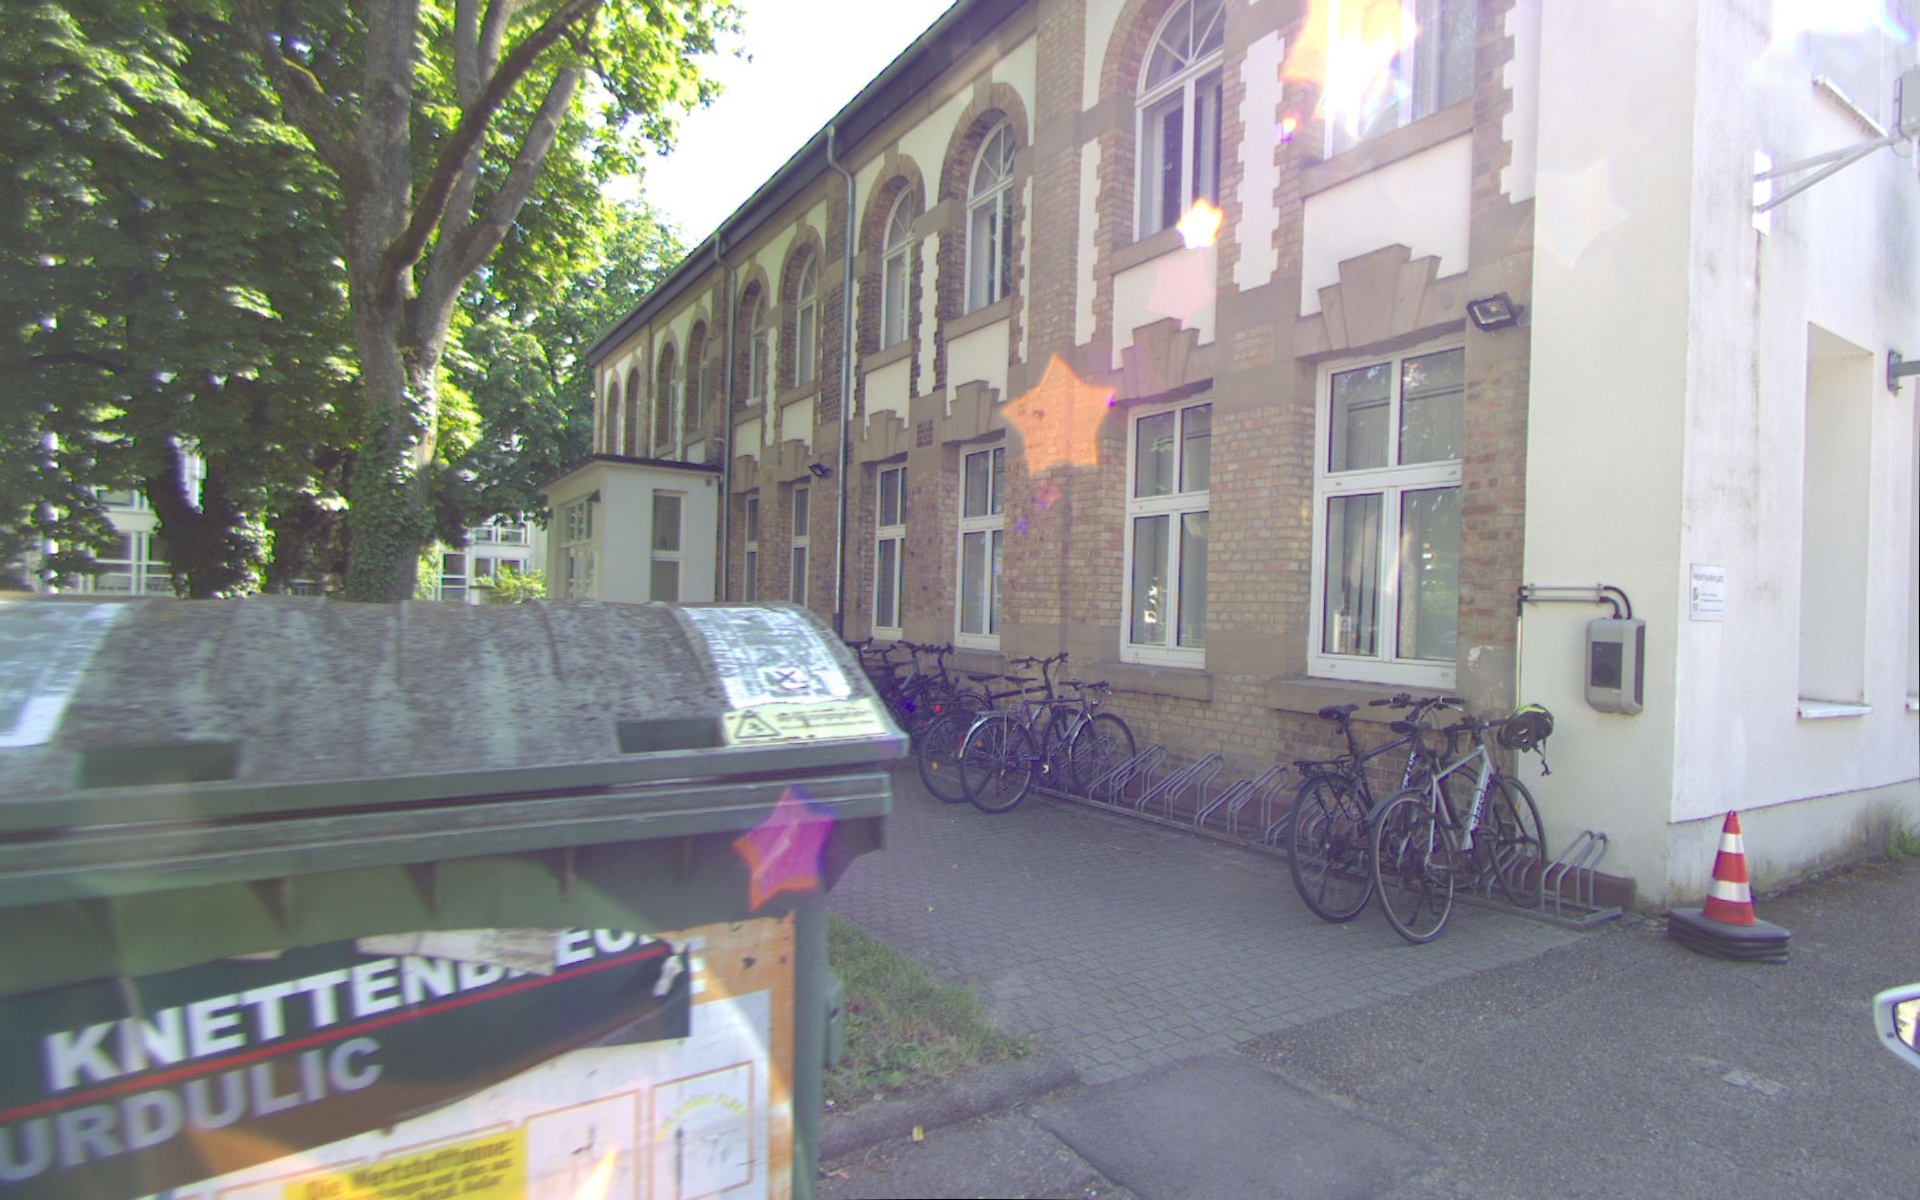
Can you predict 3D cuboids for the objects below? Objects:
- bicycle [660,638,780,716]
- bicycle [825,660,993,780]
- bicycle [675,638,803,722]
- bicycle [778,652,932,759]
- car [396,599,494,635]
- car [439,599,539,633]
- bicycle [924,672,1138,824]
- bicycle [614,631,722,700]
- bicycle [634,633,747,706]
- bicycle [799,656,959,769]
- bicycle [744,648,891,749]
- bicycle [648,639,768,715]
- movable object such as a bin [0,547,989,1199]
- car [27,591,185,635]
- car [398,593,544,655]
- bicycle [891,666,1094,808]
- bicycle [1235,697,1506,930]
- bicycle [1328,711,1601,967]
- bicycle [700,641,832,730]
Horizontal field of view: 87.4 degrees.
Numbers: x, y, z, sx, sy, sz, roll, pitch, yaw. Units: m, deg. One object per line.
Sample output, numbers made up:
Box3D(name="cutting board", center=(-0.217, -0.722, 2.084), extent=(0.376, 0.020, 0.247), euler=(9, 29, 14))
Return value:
Box3D(name="bicycle", center=(-3.256, 1.023, 13.657), extent=(1.523, 1.005, 0.442), euler=(1, -1, -30))
Box3D(name="bicycle", center=(-0.457, 1.081, 9.325), extent=(1.523, 1.005, 0.442), euler=(1, -1, -30))
Box3D(name="bicycle", center=(-2.798, 0.999, 12.789), extent=(1.523, 1.005, 0.442), euler=(1, -1, -30))
Box3D(name="bicycle", center=(-1.065, 1.051, 10.297), extent=(1.523, 1.005, 0.442), euler=(1, -1, -30))
Box3D(name="car", center=(-25.455, 0.858, 49.781), extent=(3.931, 1.684, 1.825), euler=(1, -1, -13))
Box3D(name="car", center=(-21.729, 0.739, 46.505), extent=(1.615, 1.502, 3.994), euler=(1, 0, 28))
Box3D(name="bicycle", center=(0.566, 1.081, 7.652), extent=(1.666, 1.005, 0.442), euler=(1, -1, -31))
Box3D(name="bicycle", center=(-4.547, 1.022, 15.691), extent=(1.526, 1.005, 0.441), euler=(3, 0, -35))
Box3D(name="bicycle", center=(-3.897, 0.984, 14.554), extent=(1.523, 1.005, 0.442), euler=(1, -1, -30))
Box3D(name="bicycle", center=(-0.774, 1.070, 9.831), extent=(1.523, 1.005, 0.442), euler=(1, -1, -30))
Box3D(name="bicycle", center=(-1.529, 1.038, 10.882), extent=(1.523, 1.005, 0.442), euler=(1, -1, -30))
Box3D(name="bicycle", center=(-3.514, 1.060, 14.062), extent=(1.581, 1.002, 0.371), euler=(2, 0, -31))
Box3D(name="movable object such as a bin", center=(-0.864, 0.688, 1.598), extent=(1.336, 1.450, 1.237), euler=(2, -1, -33))
Box3D(name="car", center=(-32.108, 0.511, 37.906), extent=(4.151, 1.559, 1.776), euler=(1, -1, -17))
Box3D(name="car", center=(-16.265, 0.786, 33.497), extent=(3.972, 1.940, 1.974), euler=(1, -1, -44))
Box3D(name="bicycle", center=(0.284, 1.054, 8.063), extent=(1.647, 1.005, 0.442), euler=(1, -1, -31))
Box3D(name="bicycle", center=(2.200, 1.056, 5.306), extent=(1.611, 1.005, 0.442), euler=(1, -1, -31))
Box3D(name="bicycle", center=(2.501, 1.096, 4.925), extent=(1.523, 1.005, 0.442), euler=(1, -1, -30))
Box3D(name="bicycle", center=(-2.358, 1.019, 12.276), extent=(1.524, 1.005, 0.442), euler=(1, -1, -32))
